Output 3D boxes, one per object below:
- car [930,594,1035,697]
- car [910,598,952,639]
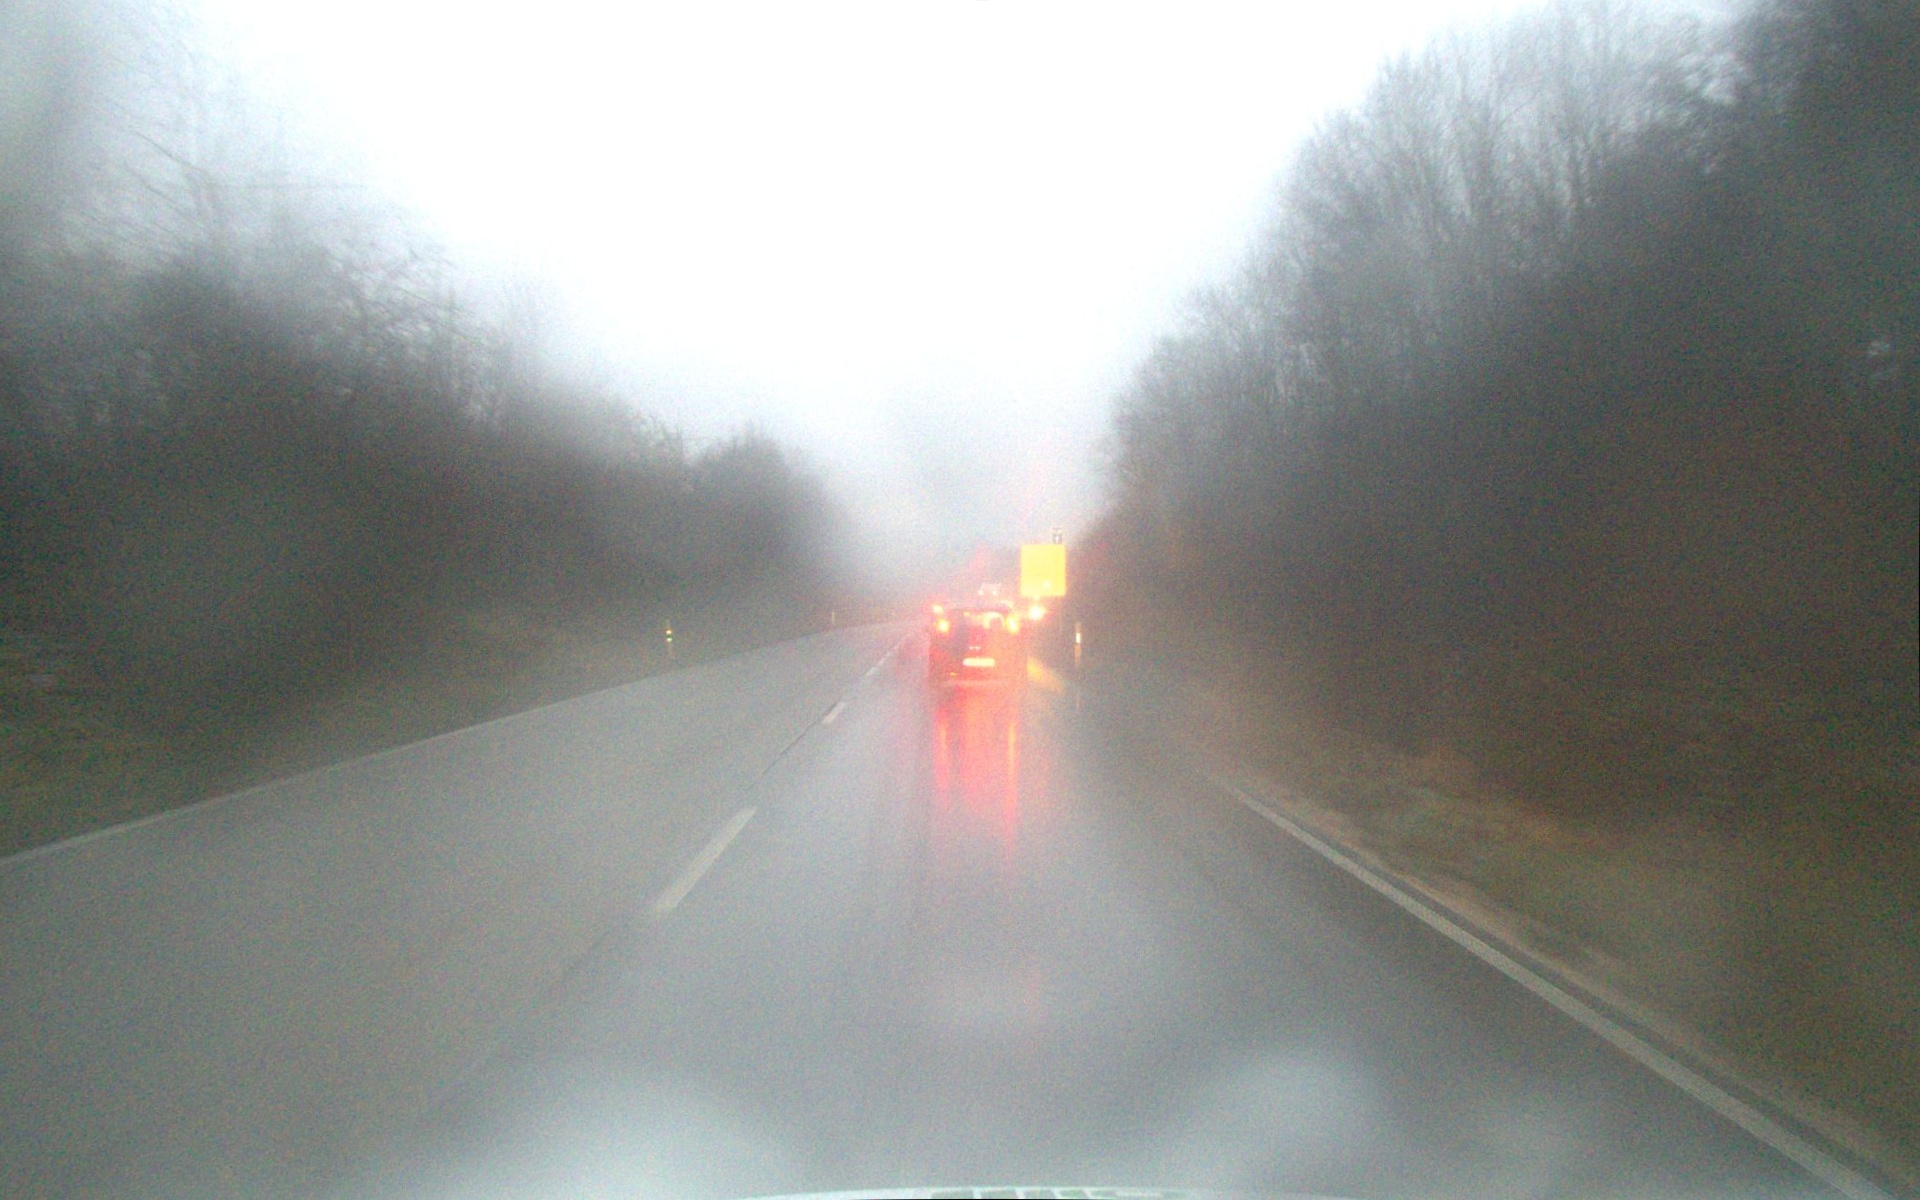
[{"bbox_3d":[0.373,0.737,28.700,1.692,1.672,4.000,0,0,0],"label":"car"},{"bbox_3d":[-1.218,0.777,70.553,1.692,1.672,4.000,0,0,0],"label":"car"}]
